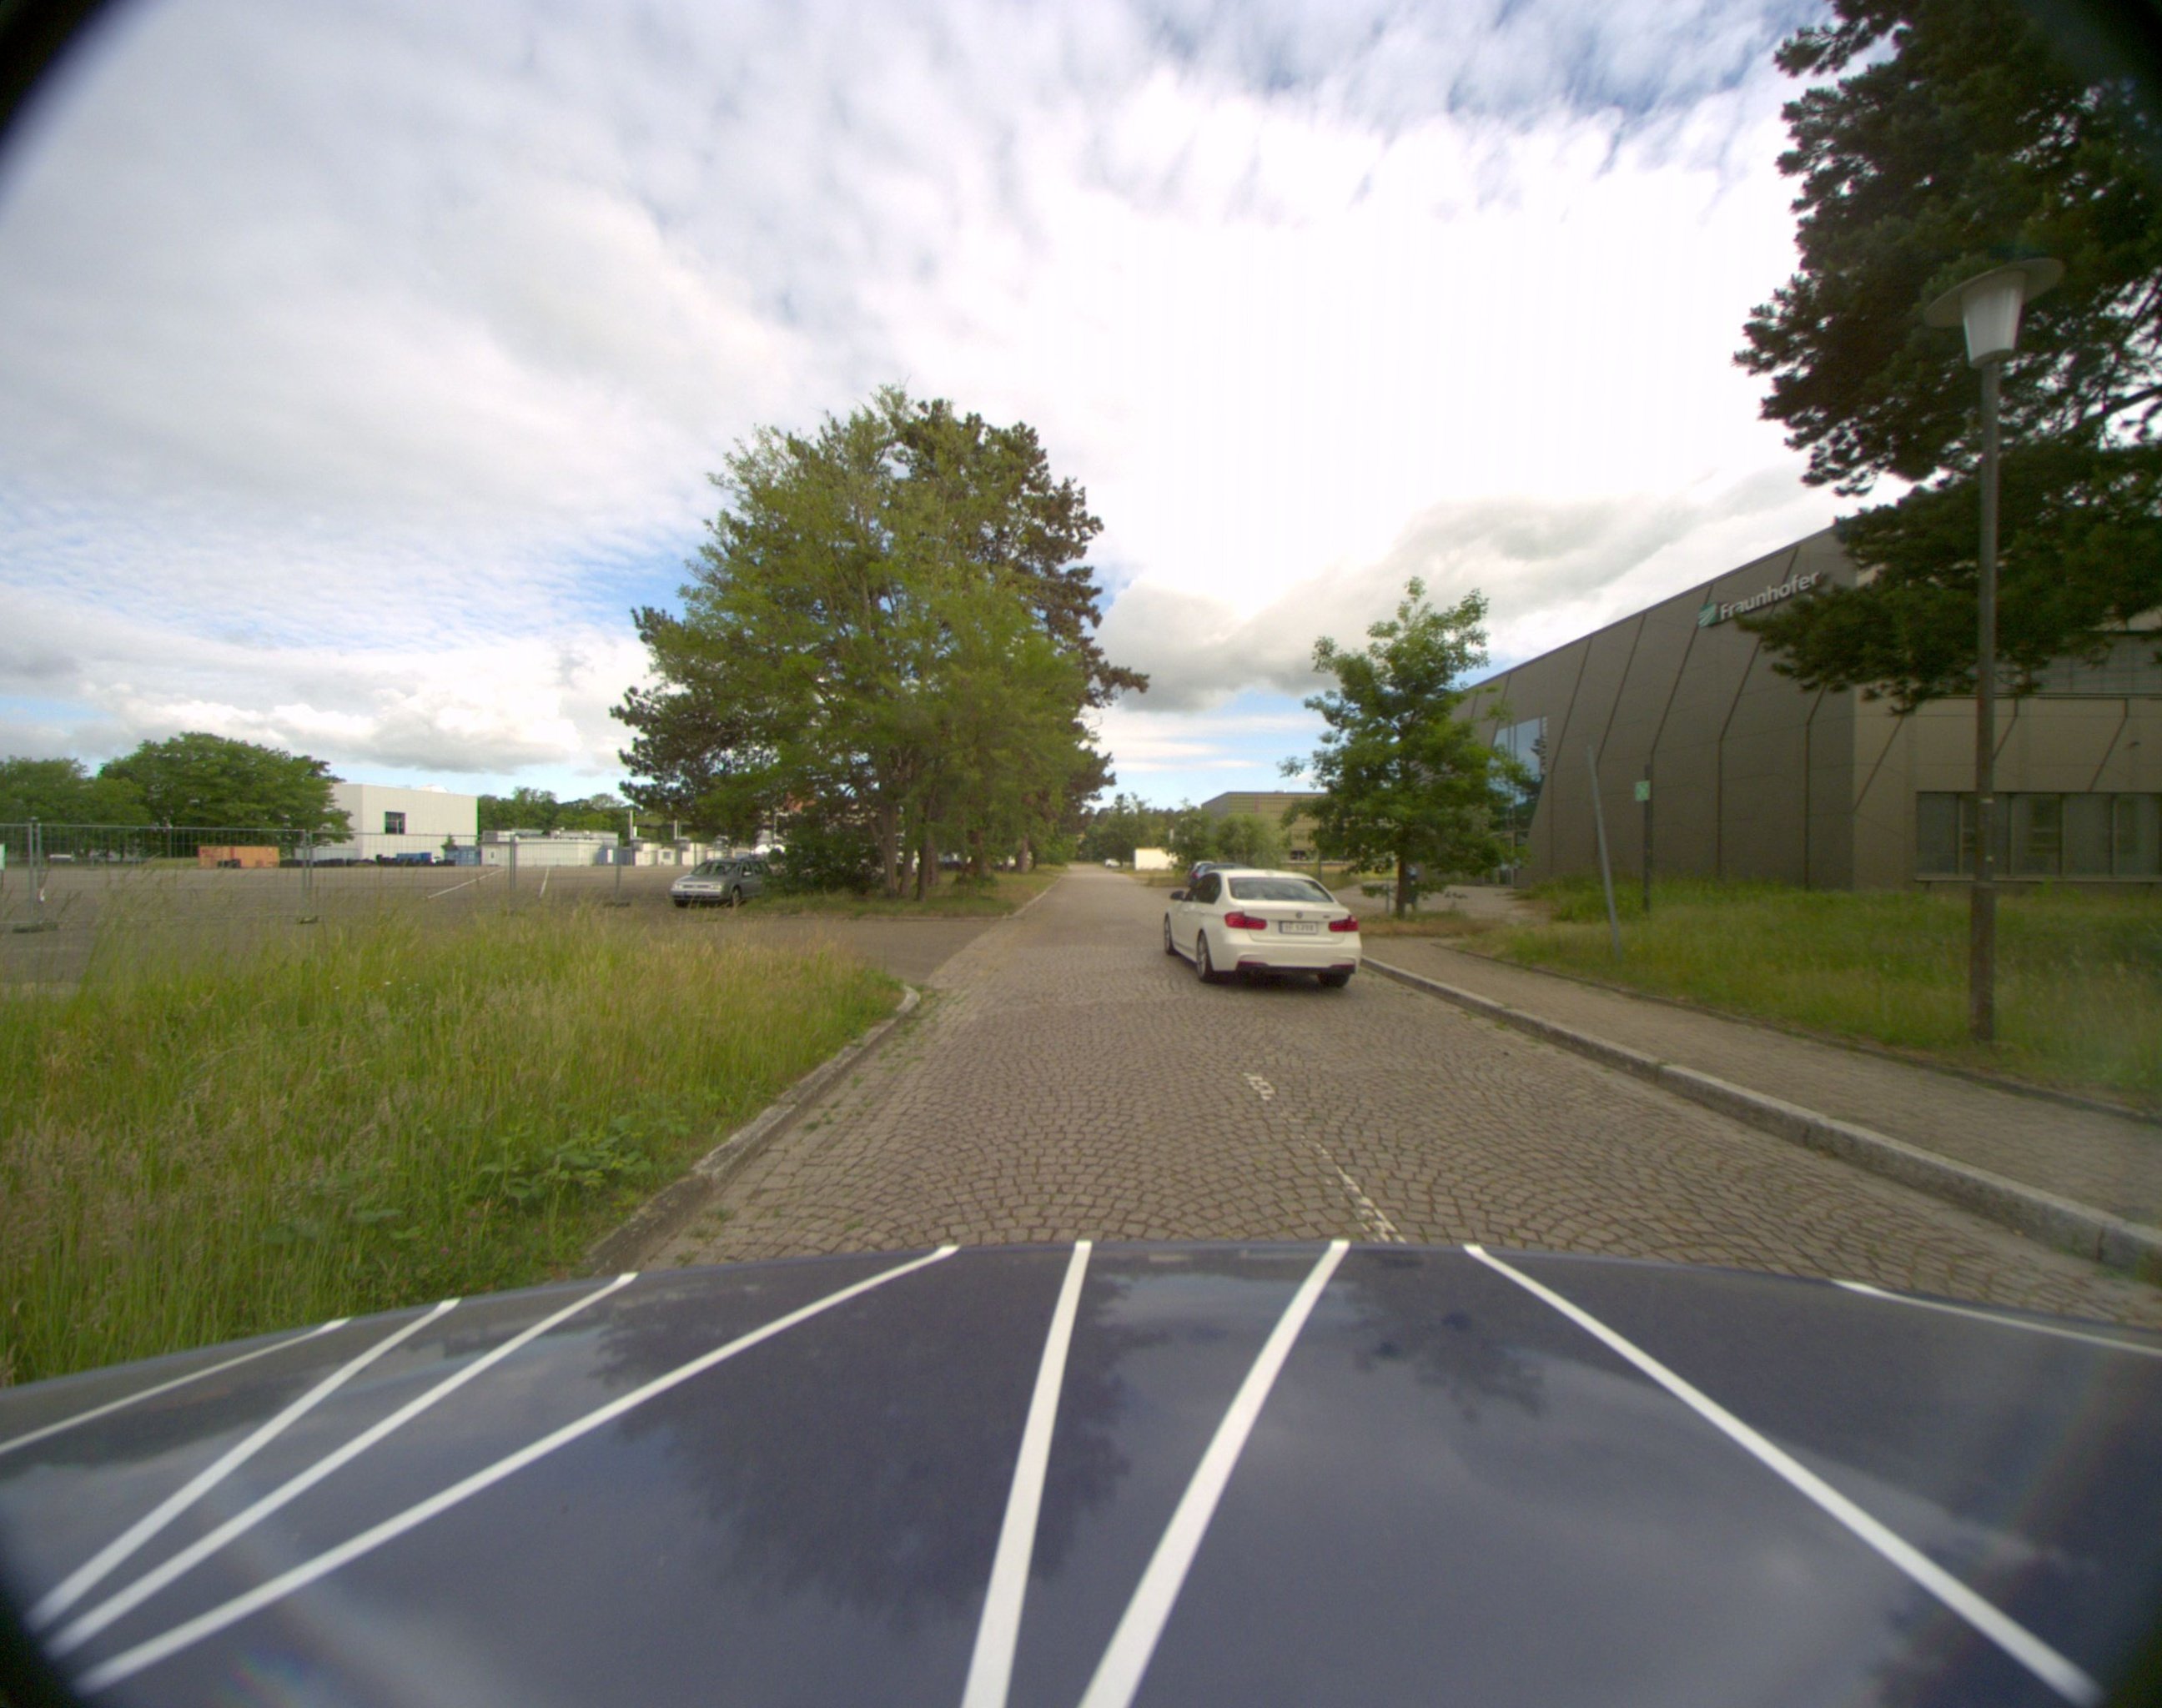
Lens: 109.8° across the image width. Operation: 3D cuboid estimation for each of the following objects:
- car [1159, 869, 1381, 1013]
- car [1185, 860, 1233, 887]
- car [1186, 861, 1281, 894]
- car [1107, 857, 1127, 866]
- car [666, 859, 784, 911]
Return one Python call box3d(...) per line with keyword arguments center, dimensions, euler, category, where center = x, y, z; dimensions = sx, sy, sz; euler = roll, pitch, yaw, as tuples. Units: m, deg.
box3d(center=(2.301, 0.997, 10.463), dimensions=(1.778, 1.429, 4.217), euler=(3, 0, -3), category="car")
box3d(center=(7.645, 1.139, 45.465), dimensions=(2.584, 1.521, 1.500), euler=(-2, 1, -2), category="car")
box3d(center=(7.600, 1.160, 38.095), dimensions=(4.427, 1.461, 1.633), euler=(-2, 0, -2), category="car")
box3d(center=(7.433, 1.526, 157.906), dimensions=(4.062, 1.767, 1.792), euler=(0, 0, 0), category="car")
box3d(center=(-10.928, 0.892, 23.701), dimensions=(1.678, 1.442, 4.488), euler=(0, 0, -2), category="car")
